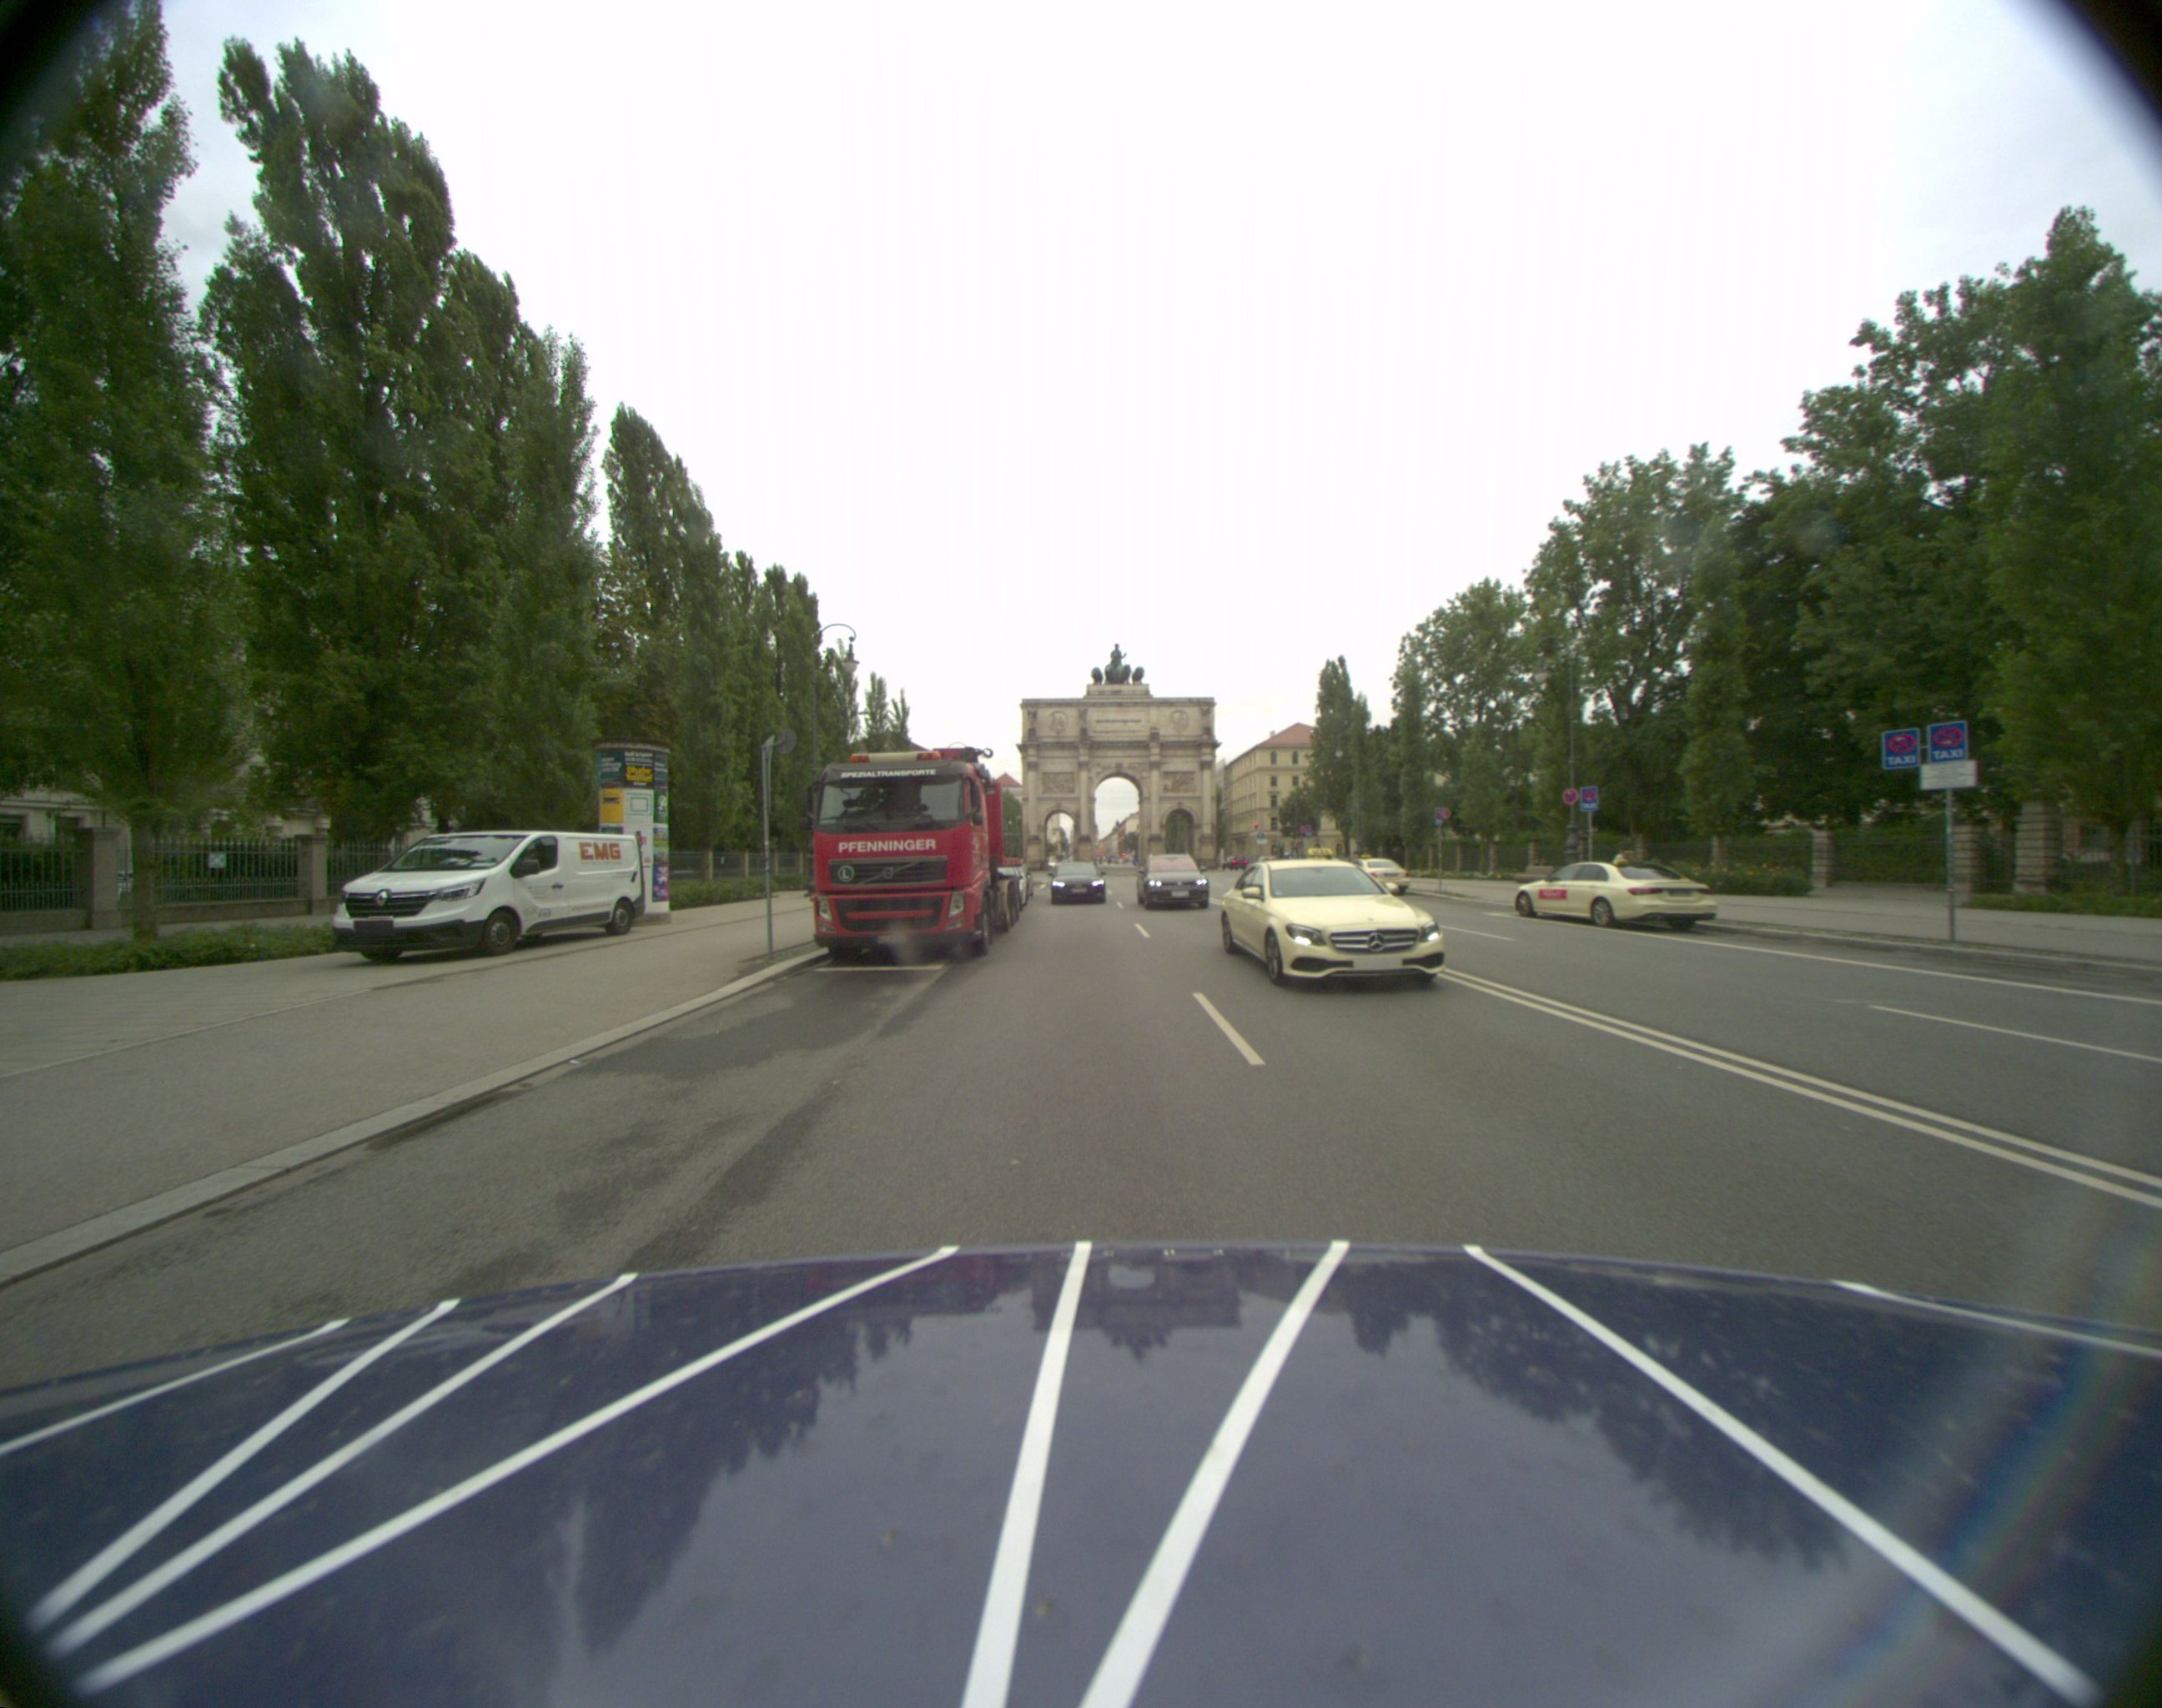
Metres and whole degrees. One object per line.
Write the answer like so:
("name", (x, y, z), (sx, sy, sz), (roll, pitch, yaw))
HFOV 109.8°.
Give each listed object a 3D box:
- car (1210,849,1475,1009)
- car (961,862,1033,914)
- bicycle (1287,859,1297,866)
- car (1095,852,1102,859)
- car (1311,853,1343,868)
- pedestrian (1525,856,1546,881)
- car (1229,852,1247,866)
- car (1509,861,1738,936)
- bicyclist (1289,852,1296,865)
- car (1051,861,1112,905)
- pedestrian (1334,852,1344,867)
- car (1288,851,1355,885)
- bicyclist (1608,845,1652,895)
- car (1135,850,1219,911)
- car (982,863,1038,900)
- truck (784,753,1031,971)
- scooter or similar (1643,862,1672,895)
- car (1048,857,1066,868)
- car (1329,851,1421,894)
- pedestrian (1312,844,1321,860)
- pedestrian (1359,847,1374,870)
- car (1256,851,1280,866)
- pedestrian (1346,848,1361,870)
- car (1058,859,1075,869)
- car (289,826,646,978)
("car", (3.104, 0.766, 10.198), (1.919, 1.566, 4.689), (-3, 0, 0))
("car", (-2.589, 1.027, 24.380), (1.792, 1.451, 4.217), (-1, 0, 0))
("bicycle", (28.293, 1.140, 101.888), (0.643, 0.967, 1.761), (-1, 0, -6))
("car", (5.191, 0.344, 223.162), (1.999, 2.002, 4.394), (-1, 0, 0))
("car", (34.799, 0.889, 107.531), (3.997, 2.002, 2.000), (-1, 0, 0))
("pedestrian", (24.585, 0.796, 41.104), (0.578, 1.329, 0.838), (-1, 0, -27))
("car", (19.869, 0.592, 96.218), (1.785, 1.662, 4.001), (0, 0, 5))
("car", (12.157, 0.908, 17.534), (1.935, 1.488, 4.791), (0, -1, 1))
("bicyclist", (28.307, 0.593, 101.789), (0.643, 1.699, 0.859), (-1, 0, -6))
("car", (-0.060, 0.965, 27.100), (1.923, 1.320, 4.410), (-3, 0, -3))
("pedestrian", (30.335, 0.624, 89.264), (0.915, 1.775, 0.754), (0, 0, -1))
("car", (12.216, 0.660, 38.873), (1.823, 1.550, 4.858), (1, 1, 0))
("bicyclist", (16.632, 0.471, 23.035), (0.695, 1.489, 0.861), (0, 0, -1))
("car", (2.812, 0.724, 23.225), (1.953, 1.615, 4.411), (-3, 0, 0))
("car", (-2.714, 1.041, 29.939), (1.739, 1.302, 4.370), (0, 0, 1))
("truck", (-2.821, 0.112, 16.055), (2.720, 3.092, 10.426), (0, 0, 0))
("scooter or similar", (21.726, 0.923, 28.634), (0.243, 1.194, 1.122), (-1, 0, 0))
("car", (-4.093, 1.475, 131.272), (1.785, 1.739, 4.326), (0, 0, 16))
("car", (12.251, 0.699, 32.049), (1.942, 1.615, 4.964), (0, 1, 0))
("pedestrian", (29.770, -0.264, 95.938), (0.796, 2.002, 0.754), (-1, 0, -35))
("pedestrian", (21.263, 0.349, 56.623), (0.846, 1.668, 0.967), (0, 0, 6))
("car", (23.845, 0.515, 96.954), (2.004, 1.844, 4.990), (1, 1, 2))
("pedestrian", (20.435, 0.367, 56.979), (0.846, 1.668, 0.967), (0, 0, 6))
("car", (-2.524, 1.807, 136.542), (1.785, 1.739, 4.326), (0, 0, 16))
("car", (-9.490, 0.635, 12.474), (1.885, 1.933, 4.884), (-2, 0, -1))
